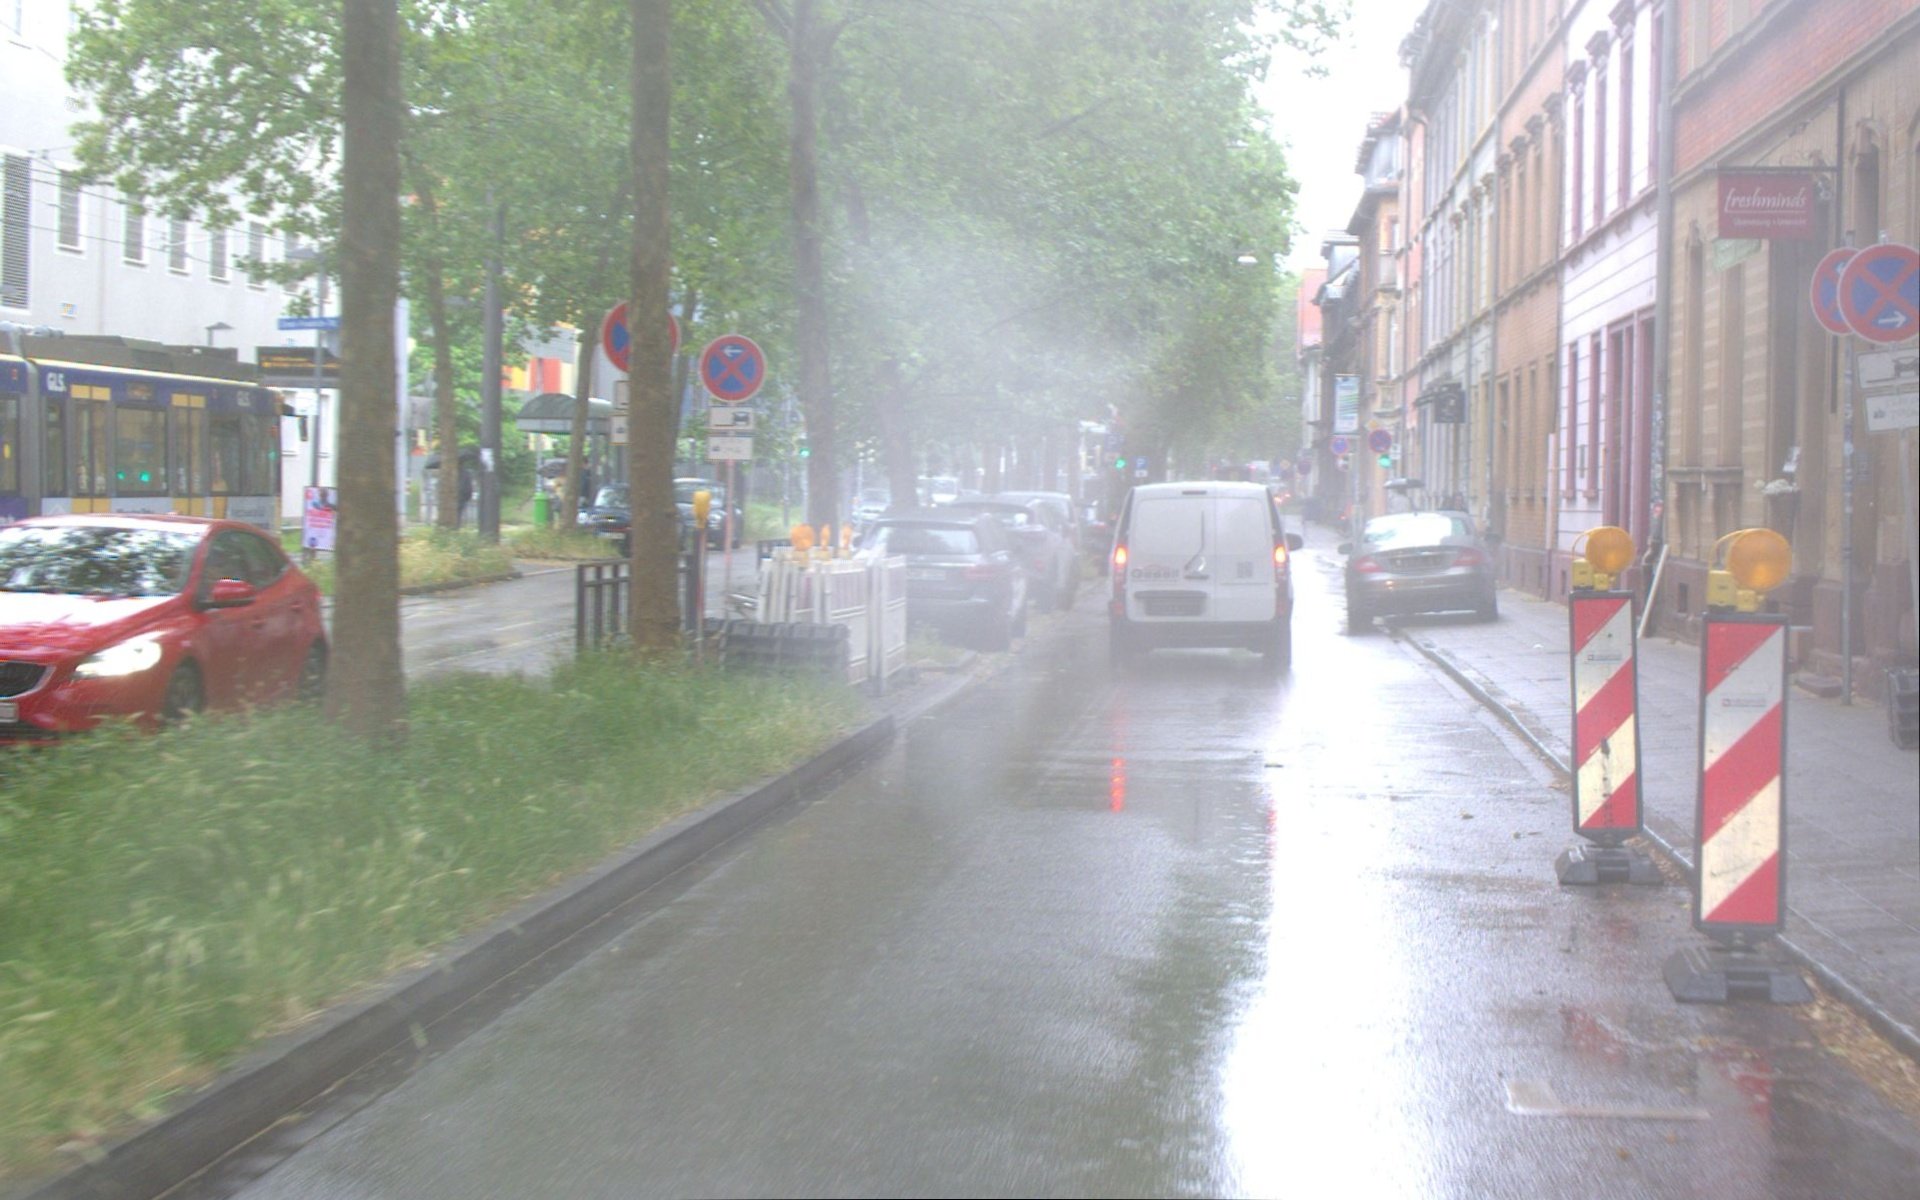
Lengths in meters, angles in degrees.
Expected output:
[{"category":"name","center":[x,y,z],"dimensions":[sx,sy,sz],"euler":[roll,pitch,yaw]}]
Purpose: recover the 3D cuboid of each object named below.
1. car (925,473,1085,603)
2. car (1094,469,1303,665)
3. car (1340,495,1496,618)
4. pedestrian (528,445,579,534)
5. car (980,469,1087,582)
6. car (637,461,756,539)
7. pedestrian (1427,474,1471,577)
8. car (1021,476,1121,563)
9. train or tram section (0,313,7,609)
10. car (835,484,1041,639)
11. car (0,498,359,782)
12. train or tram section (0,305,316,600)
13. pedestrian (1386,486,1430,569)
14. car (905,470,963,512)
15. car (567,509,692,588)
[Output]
[{"category":"car","center":[0.651,-0.864,46.188],"dimensions":[1.699,1.630,4.354],"euler":[1,2,6]},{"category":"car","center":[2.414,-0.331,34.250],"dimensions":[1.904,1.791,4.113],"euler":[2,1,5]},{"category":"car","center":[5.827,-0.594,43.752],"dimensions":[1.814,1.416,4.696],"euler":[-2,1,8]},{"category":"pedestrian","center":[-7.962,-2.166,67.333],"dimensions":[0.818,1.698,0.872],"euler":[2,2,4]},{"category":"car","center":[1.225,-1.244,56.095],"dimensions":[1.624,1.676,3.660],"euler":[2,3,2]},{"category":"car","center":[-5.745,-2.204,75.355],"dimensions":[1.994,1.607,4.000],"euler":[2,2,4]},{"category":"pedestrian","center":[8.047,-1.226,56.601],"dimensions":[0.638,1.679,0.603],"euler":[-1,2,4]},{"category":"car","center":[2.137,-1.541,65.332],"dimensions":[1.649,1.495,4.119],"euler":[3,2,4]},{"category":"train or tram section","center":[-13.584,-1.542,34.268],"dimensions":[3.106,3.546,14.577],"euler":[1,1,4]},{"category":"car","center":[-0.174,-0.457,37.233],"dimensions":[1.829,1.498,4.613],"euler":[3,2,4]},{"category":"car","center":[-4.881,0.143,19.827],"dimensions":[1.741,1.393,4.233],"euler":[2,2,5]},{"category":"train or tram section","center":[-12.572,-1.968,48.748],"dimensions":[3.106,3.546,14.674],"euler":[1,1,4]},{"category":"pedestrian","center":[9.533,-1.547,73.165],"dimensions":[0.840,1.710,1.107],"euler":[-2,2,5]},{"category":"car","center":[-1.052,-4.366,137.033],"dimensions":[1.993,1.575,4.001],"euler":[1,2,-4]},{"category":"car","center":[-6.385,-1.017,66.691],"dimensions":[1.739,1.338,3.755],"euler":[4,2,4]}]
